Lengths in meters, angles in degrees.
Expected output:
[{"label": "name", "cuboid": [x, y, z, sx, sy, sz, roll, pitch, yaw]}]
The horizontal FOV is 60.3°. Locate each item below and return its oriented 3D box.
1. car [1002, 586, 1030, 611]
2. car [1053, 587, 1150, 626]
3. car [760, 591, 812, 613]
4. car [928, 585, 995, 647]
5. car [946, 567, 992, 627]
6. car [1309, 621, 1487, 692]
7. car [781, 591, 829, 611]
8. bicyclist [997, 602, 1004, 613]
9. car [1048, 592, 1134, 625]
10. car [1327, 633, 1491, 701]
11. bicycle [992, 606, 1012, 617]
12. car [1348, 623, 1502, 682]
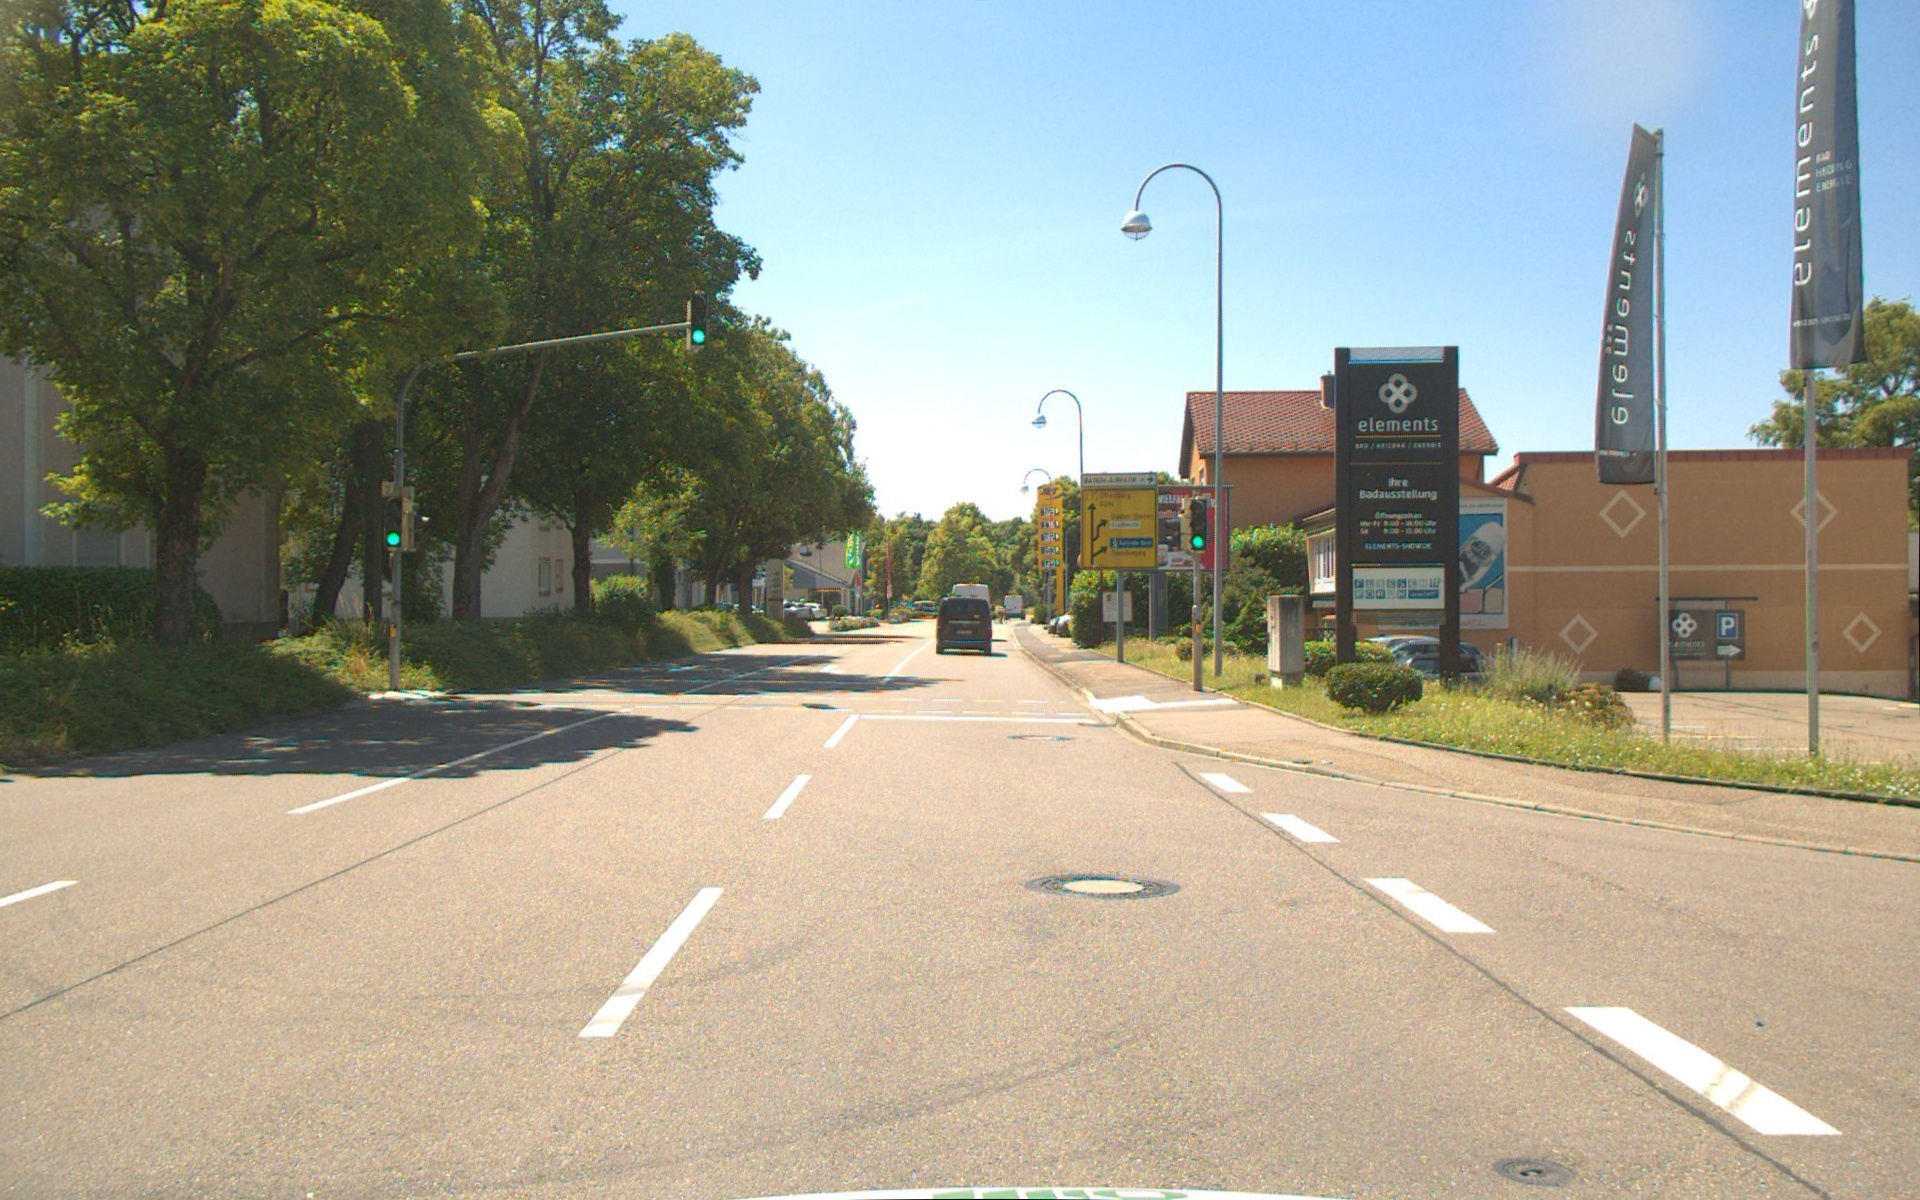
[{"label": "car", "cuboid": [6.111, -0.136, 179.702, 2.302, 2.591, 4.960, 1, 1, 10]}, {"label": "car", "cuboid": [6.911, 0.299, 81.084, 4.466, 1.747, 1.999, -2, 1, -4]}, {"label": "car", "cuboid": [-14.821, 0.174, 141.187, 3.957, 1.735, 1.904, 1, 1, 17]}, {"label": "car", "cuboid": [0.014, 0.486, 55.165, 1.954, 1.926, 3.998, 1, 1, -3]}, {"label": "car", "cuboid": [0.424, -0.192, 78.998, 2.076, 2.724, 5.662, 1, 1, 0]}, {"label": "car", "cuboid": [11.454, 1.461, 43.456, 4.183, 1.675, 1.890, 1, 1, 2]}, {"label": "car", "cuboid": [-13.939, 0.052, 148.960, 3.902, 1.691, 2.002, 1, 1, 10]}, {"label": "bicyclist", "cuboid": [3.515, 0.644, 143.928, 0.463, 0.868, 0.553, -1, 3, -27]}, {"label": "car", "cuboid": [6.569, 0.414, 83.451, 4.075, 1.482, 1.906, -2, 1, -4]}, {"label": "car", "cuboid": [10.780, 1.601, 39.906, 3.545, 1.441, 1.699, 1, 1, 5]}, {"label": "bicycle", "cuboid": [3.638, 1.004, 144.005, 1.695, 0.902, 0.553, -1, 3, -28]}, {"label": "car", "cuboid": [13.722, 1.538, 48.986, 4.169, 1.627, 1.891, 0, 1, 7]}]
